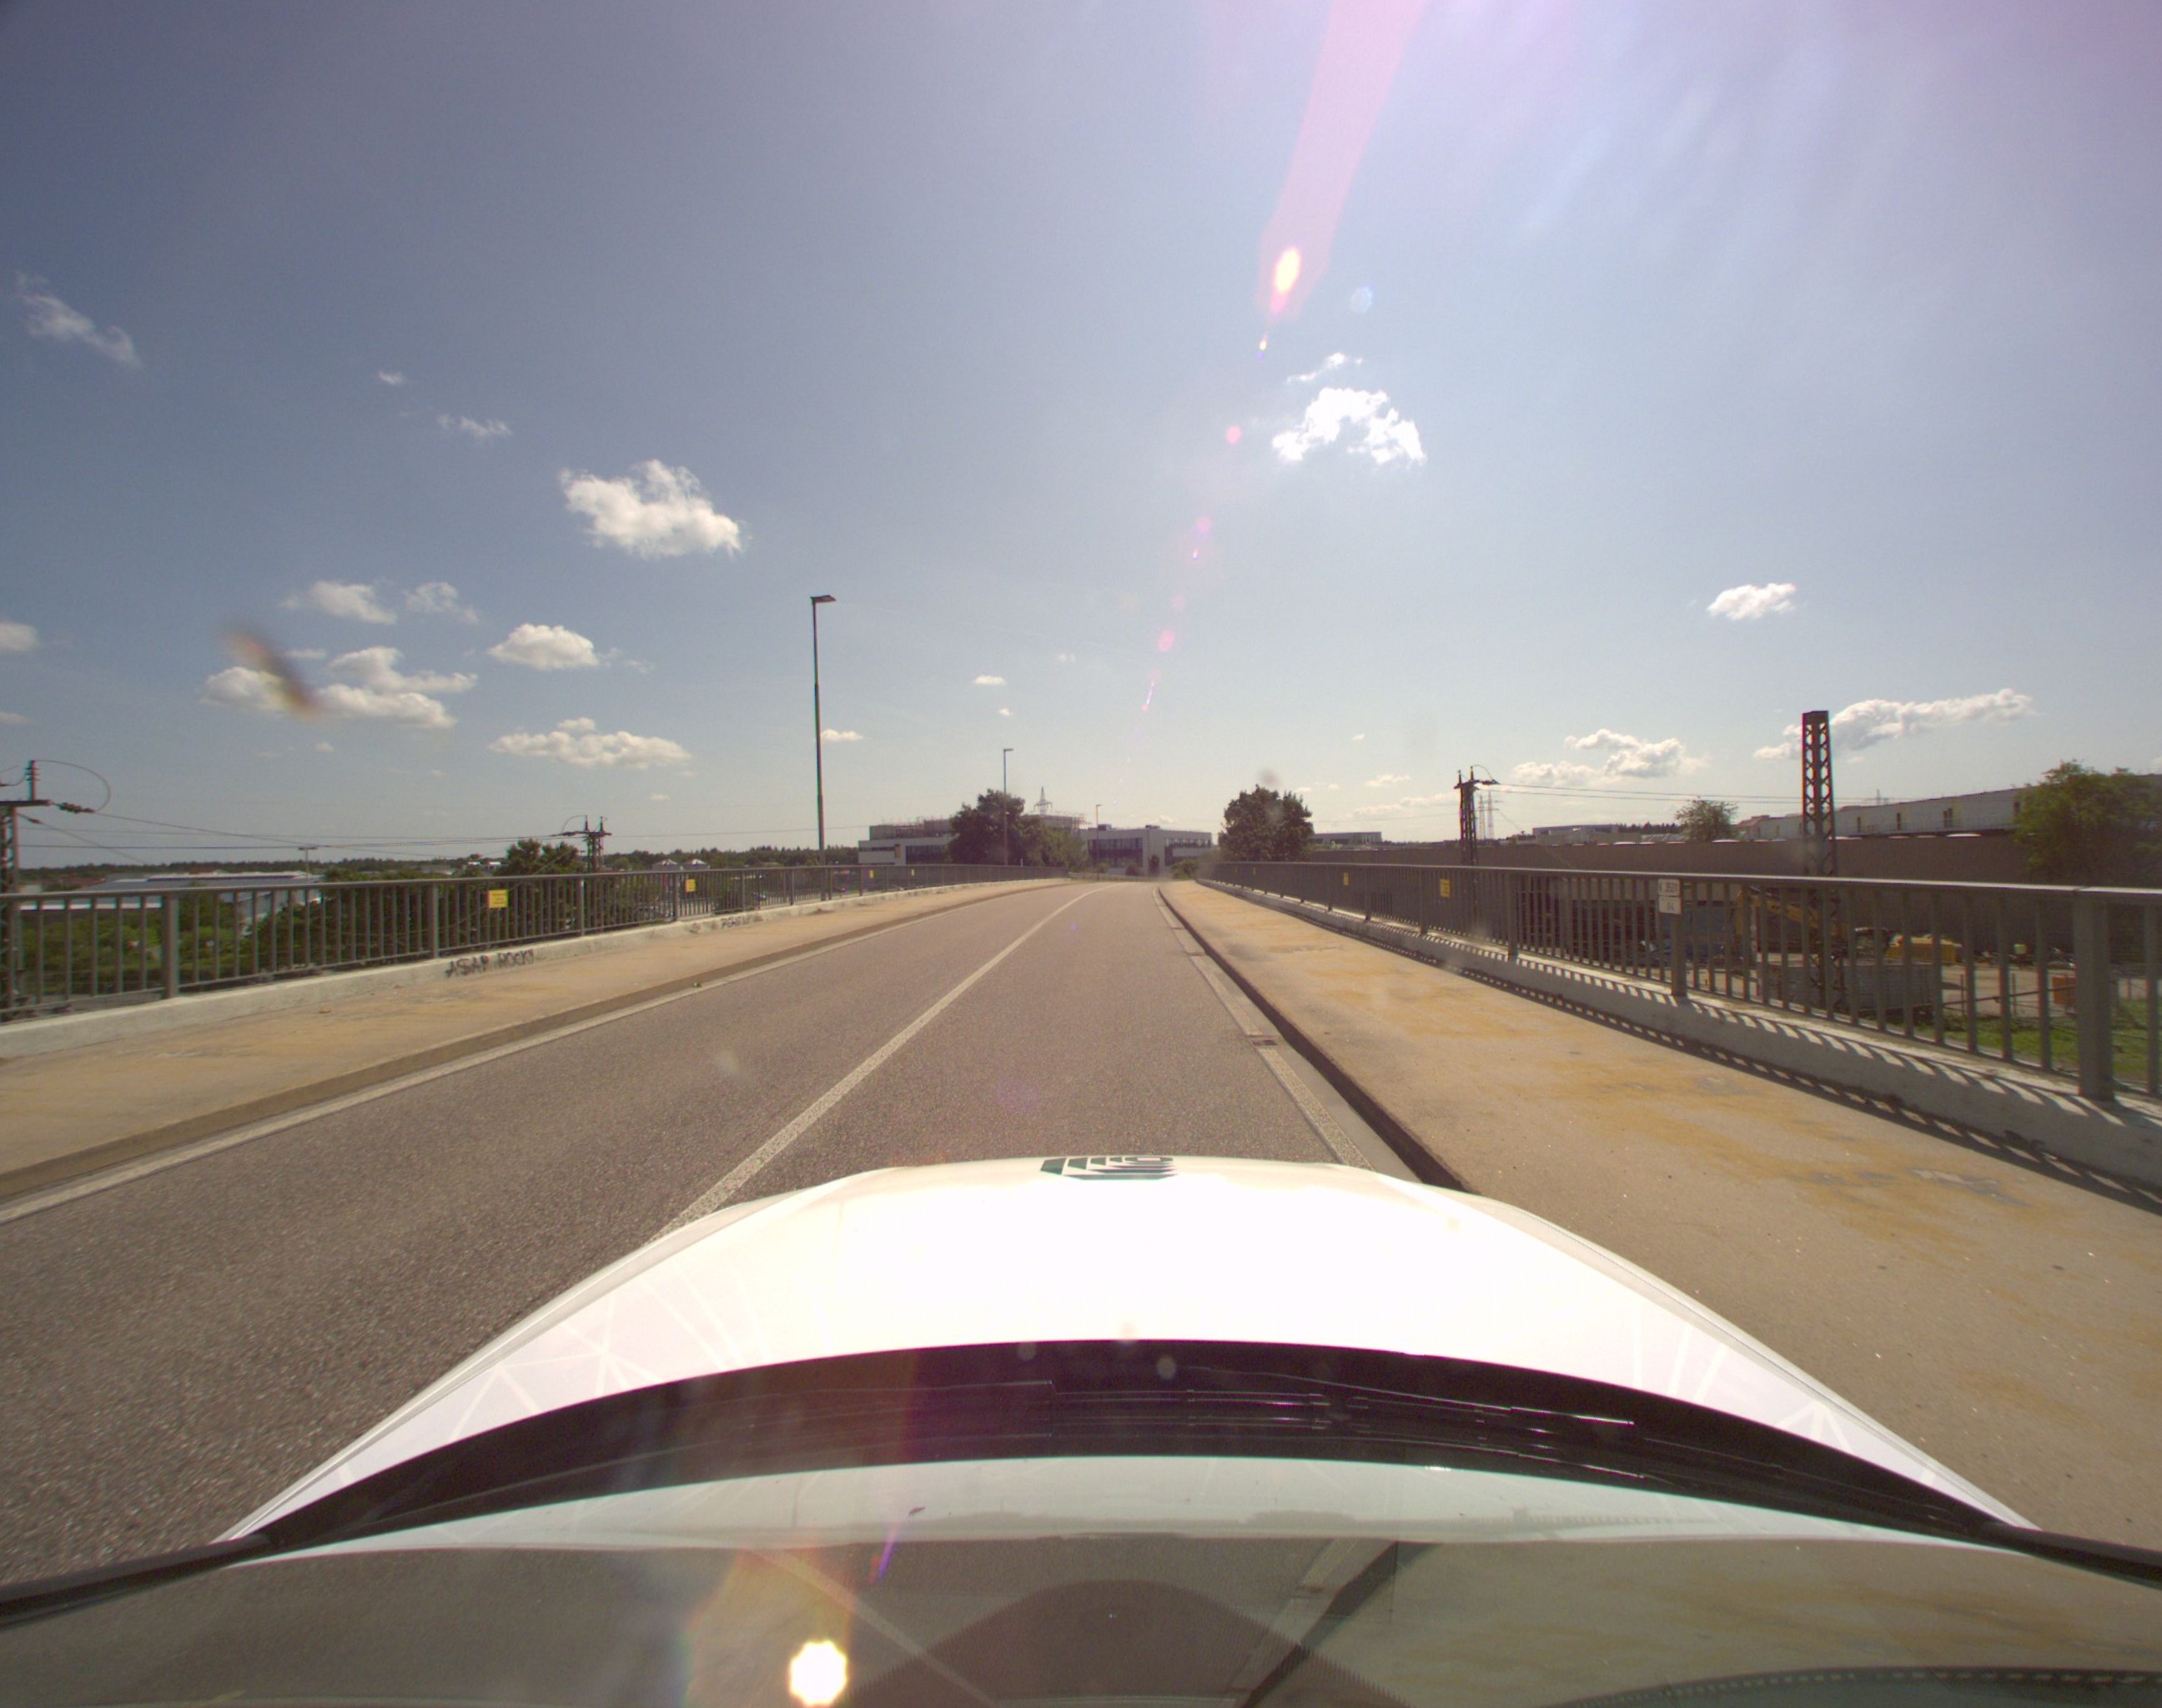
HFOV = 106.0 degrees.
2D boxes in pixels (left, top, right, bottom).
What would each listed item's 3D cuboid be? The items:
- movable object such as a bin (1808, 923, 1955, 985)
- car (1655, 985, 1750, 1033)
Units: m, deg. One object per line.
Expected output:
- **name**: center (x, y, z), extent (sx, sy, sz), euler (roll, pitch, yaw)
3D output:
- **movable object such as a bin**: center (51.750, 6.397, 52.928), extent (6.143, 3.290, 3.269), euler (-1, 1, 30)
- **car**: center (32.430, 8.061, 42.667), extent (1.984, 1.595, 4.250), euler (3, 0, 5)
